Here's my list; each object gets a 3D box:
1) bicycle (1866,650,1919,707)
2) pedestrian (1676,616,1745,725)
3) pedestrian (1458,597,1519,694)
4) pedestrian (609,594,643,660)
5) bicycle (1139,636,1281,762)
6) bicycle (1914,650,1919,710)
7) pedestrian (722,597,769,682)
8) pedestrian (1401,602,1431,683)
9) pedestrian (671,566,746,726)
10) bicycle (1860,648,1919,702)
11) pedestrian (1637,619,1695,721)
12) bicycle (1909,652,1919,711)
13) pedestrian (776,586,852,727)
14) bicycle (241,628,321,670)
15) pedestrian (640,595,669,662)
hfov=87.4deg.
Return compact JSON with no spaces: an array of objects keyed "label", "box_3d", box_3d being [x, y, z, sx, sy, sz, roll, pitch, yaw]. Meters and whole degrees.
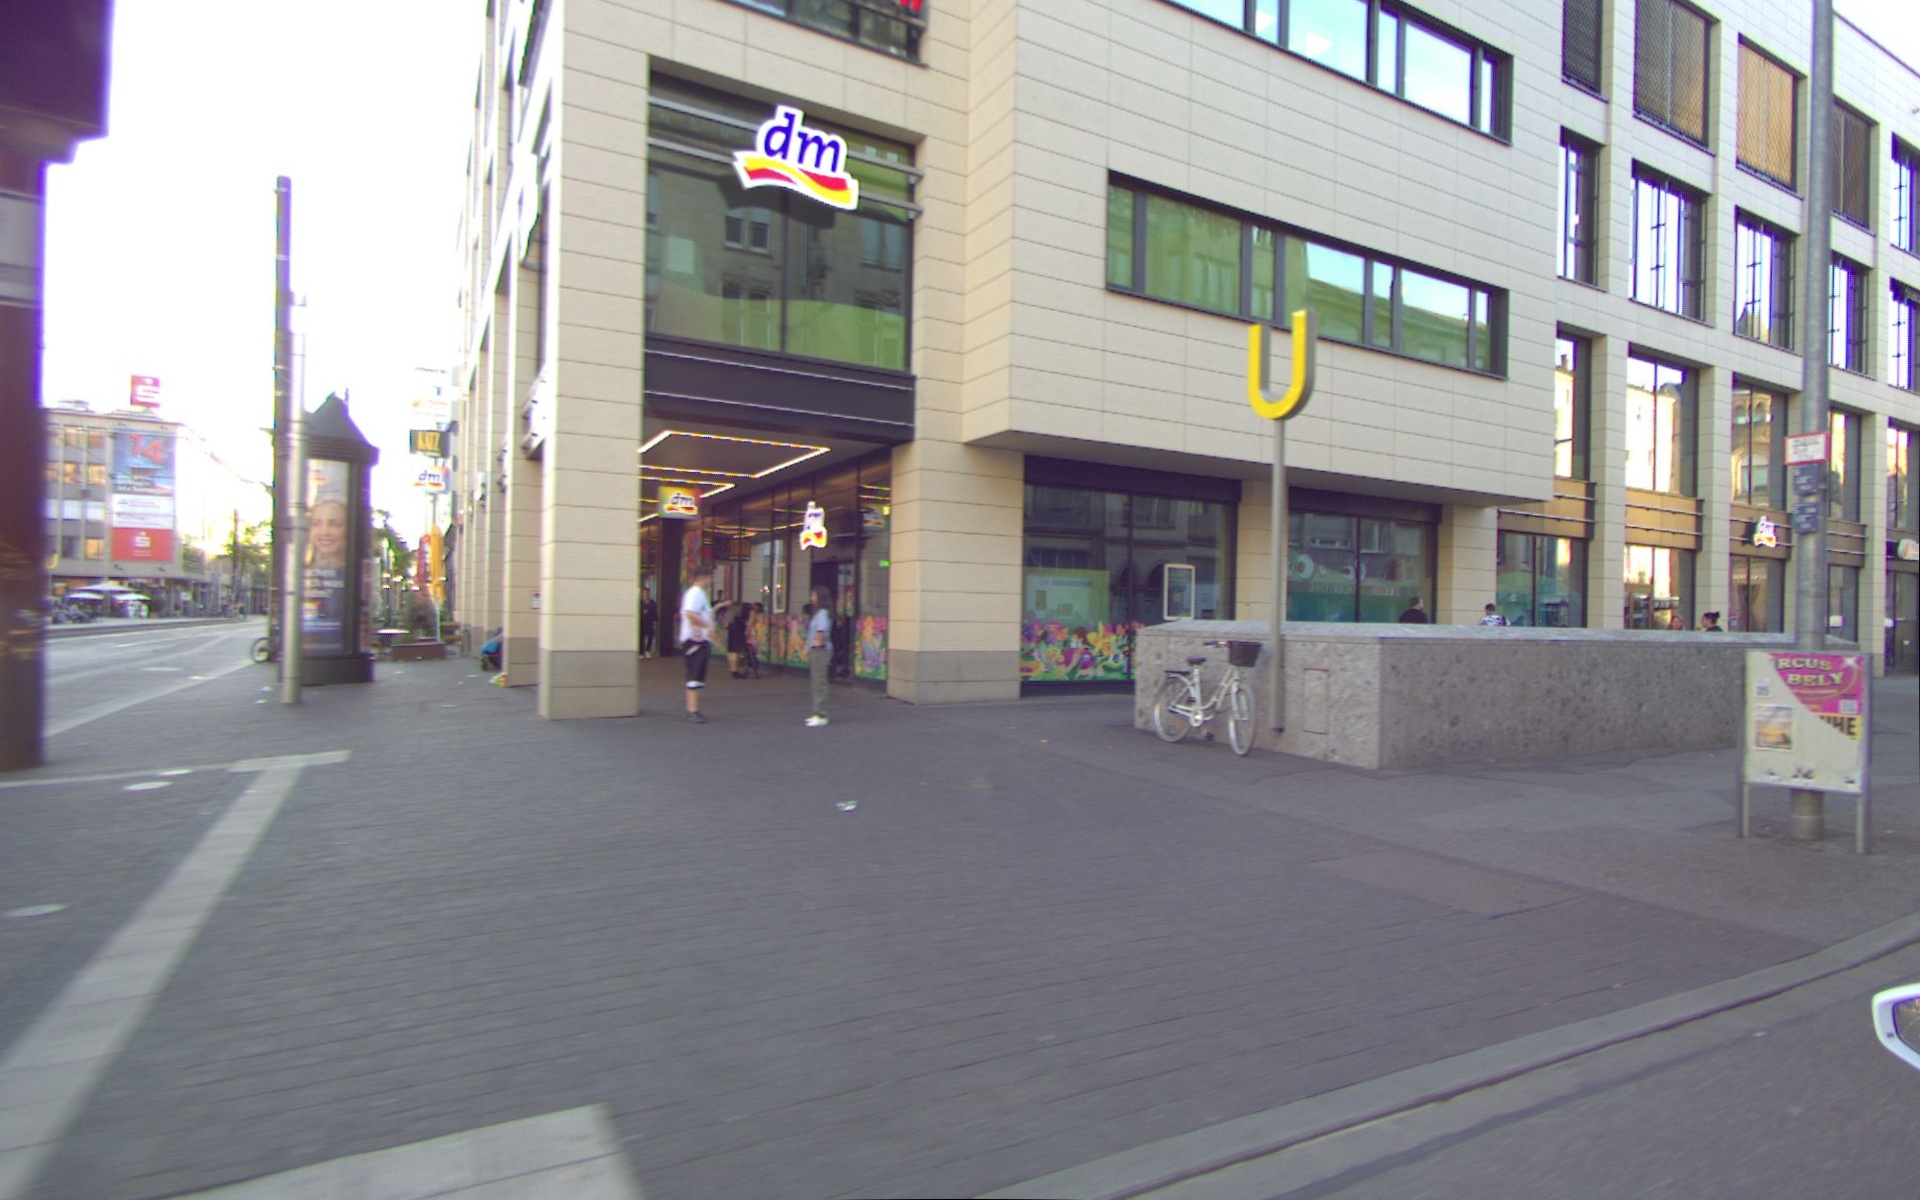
[{"label":"bicycle","box_3d":[20.138,1.656,20.787,1.939,1.136,0.557,2,0,32]},{"label":"pedestrian","box_3d":[12.183,1.122,16.314,0.593,1.703,0.677,2,0,-32]},{"label":"pedestrian","box_3d":[9.948,0.843,18.908,0.593,1.774,0.777,2,0,-32]},{"label":"pedestrian","box_3d":[-8.798,0.702,26.429,0.675,1.702,0.810,2,0,-28]},{"label":"bicycle","box_3d":[2.599,0.999,10.626,0.445,1.136,1.690,2,0,-26]},{"label":"bicycle","box_3d":[19.087,1.550,18.607,1.939,1.136,0.557,2,0,32]},{"label":"pedestrian","box_3d":[-4.059,0.740,18.985,0.778,1.547,0.572,2,0,-18]},{"label":"pedestrian","box_3d":[8.787,0.804,19.360,0.385,1.535,0.503,1,-1,42]},{"label":"pedestrian","box_3d":[-3.060,0.555,12.212,0.803,1.879,0.572,2,0,-18]},{"label":"bicycle","box_3d":[21.603,1.706,22.578,1.939,1.136,0.557,2,0,32]},{"label":"pedestrian","box_3d":[11.963,1.178,17.027,0.540,1.668,0.596,2,0,-32]},{"label":"bicycle","box_3d":[19.724,1.643,19.388,1.939,1.136,0.557,2,0,32]},{"label":"pedestrian","box_3d":[-1.817,0.684,12.426,0.803,1.681,0.766,2,0,-16]},{"label":"bicycle","box_3d":[-17.993,1.292,26.614,1.888,0.999,0.451,2,0,6]},{"label":"pedestrian","box_3d":[-7.942,0.743,26.091,0.567,1.702,0.671,2,0,-28]}]
